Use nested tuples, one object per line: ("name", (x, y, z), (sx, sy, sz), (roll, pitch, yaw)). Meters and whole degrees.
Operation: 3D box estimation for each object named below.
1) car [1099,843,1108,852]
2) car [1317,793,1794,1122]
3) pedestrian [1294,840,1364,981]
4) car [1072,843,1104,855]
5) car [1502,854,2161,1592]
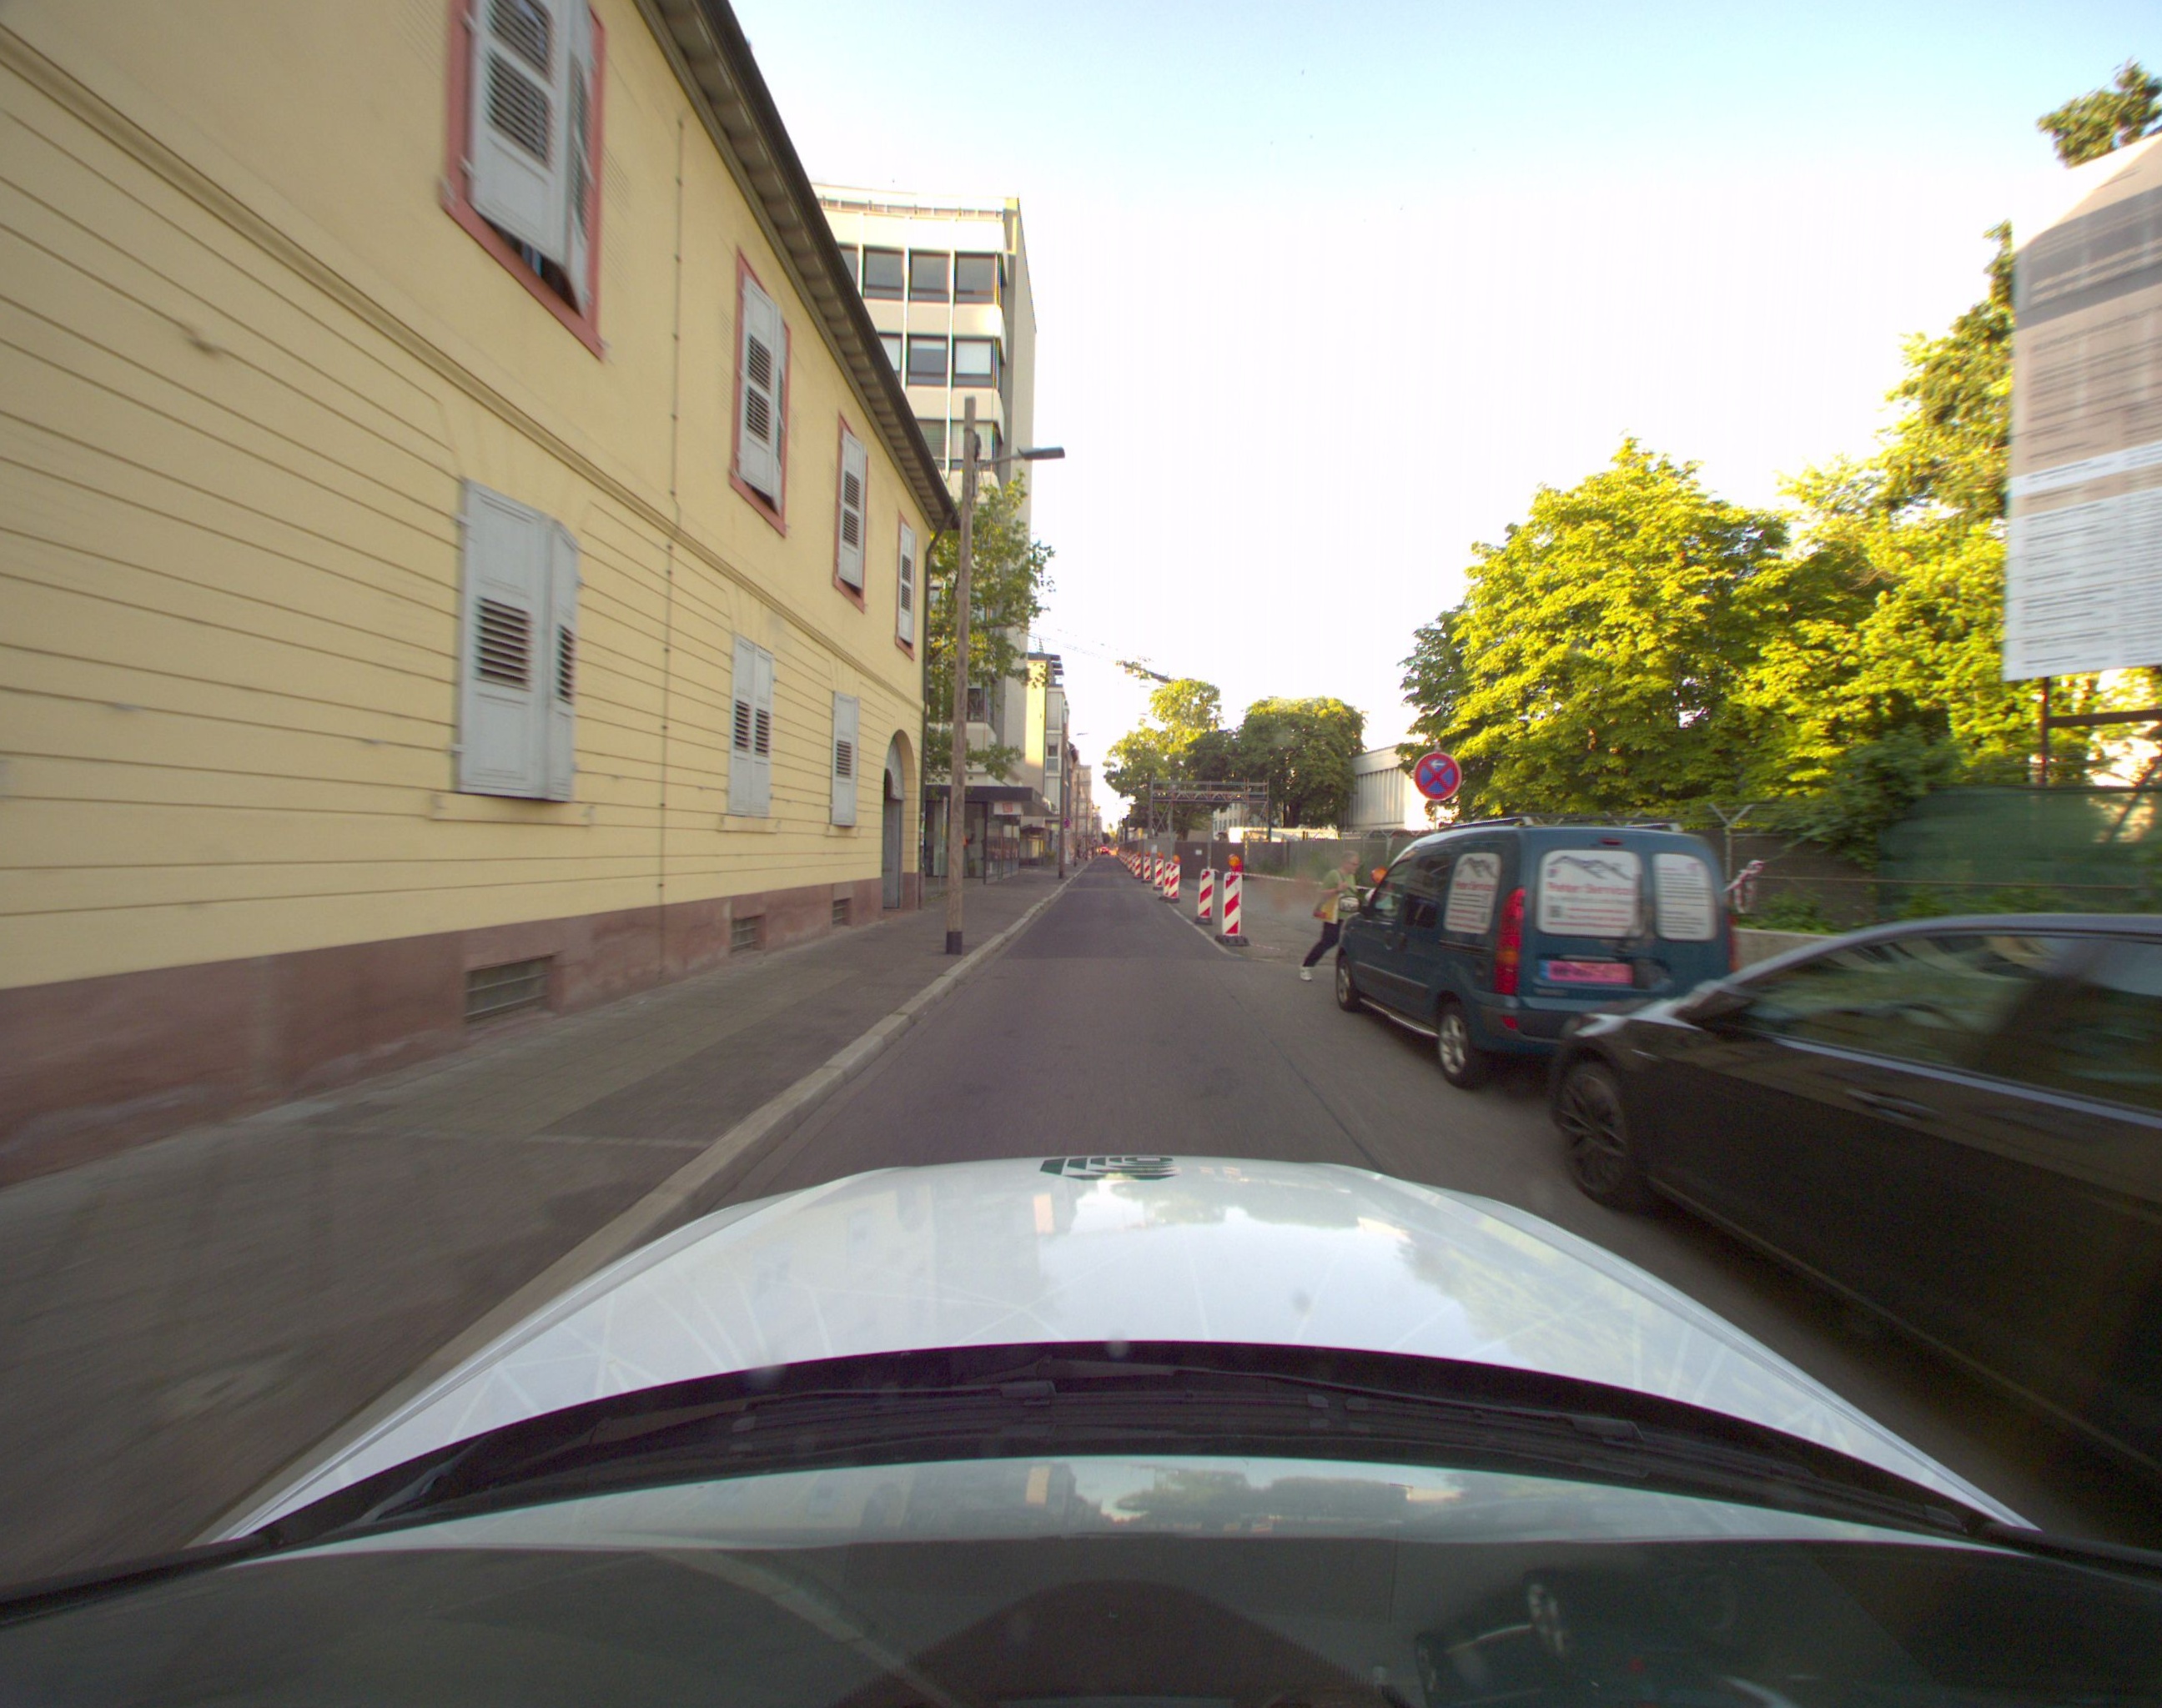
("car", (4.882, -1.371, 173.080), (1.852, 1.662, 4.002), (2, 1, 2))
("car", (3.318, 0.574, 6.716), (1.706, 1.848, 4.025), (2, 1, 3))
("pedestrian", (3.021, 0.661, 9.981), (0.610, 1.628, 0.819), (2, 0, 4))
("car", (0.874, -0.628, 100.463), (3.726, 1.459, 1.700), (1, 0, 4))
("car", (3.078, 0.773, 2.405), (1.685, 1.459, 4.102), (2, 1, 3))
